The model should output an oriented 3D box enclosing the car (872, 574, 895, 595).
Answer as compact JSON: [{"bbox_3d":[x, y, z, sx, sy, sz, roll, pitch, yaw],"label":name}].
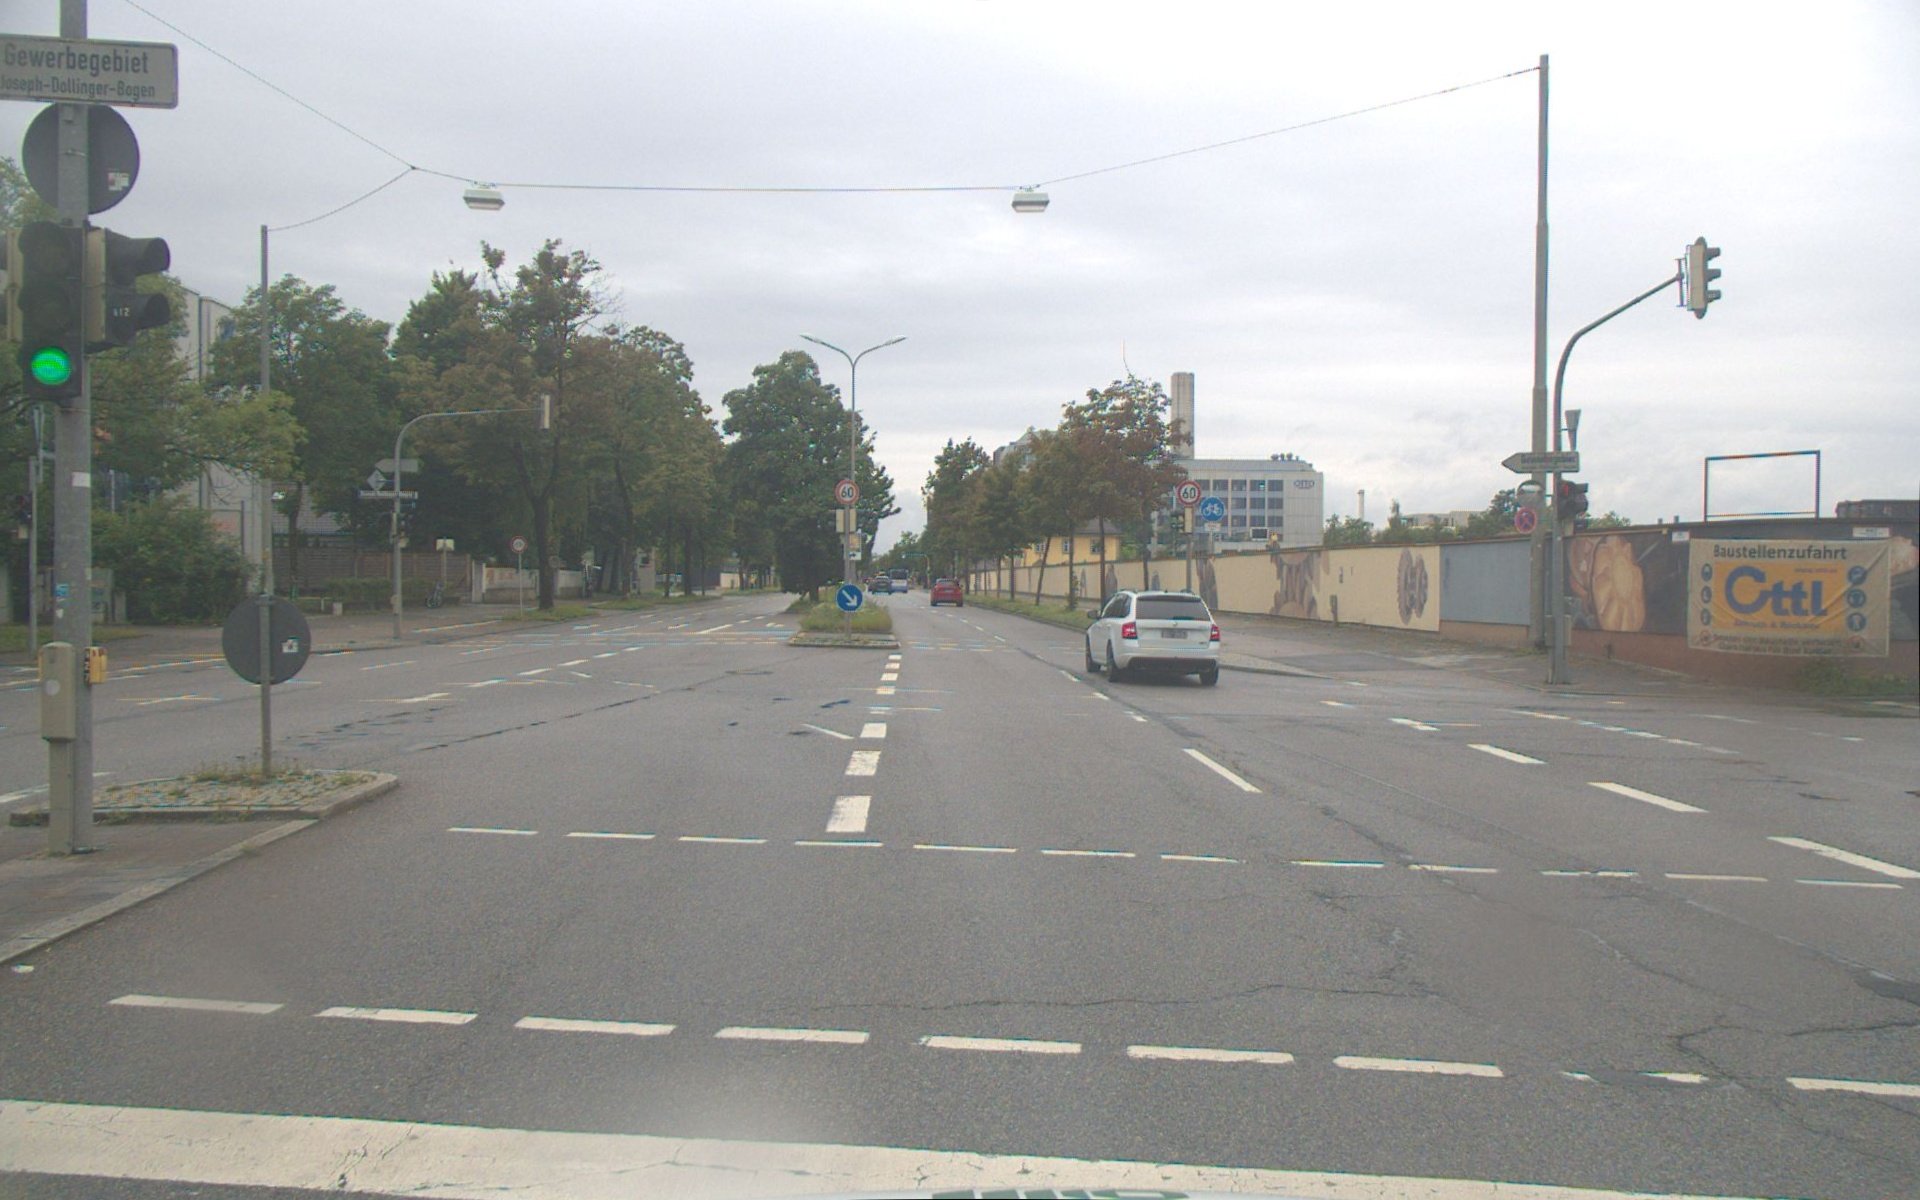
[{"bbox_3d":[-7.292,-1.455,156.765,2.043,1.898,4.382,1,1,-5],"label":"car"}]

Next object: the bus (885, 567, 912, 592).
[{"bbox_3d":[-8.390,-2.794,225.422,3.157,3.181,10.336,1,1,-4],"label":"bus"}]

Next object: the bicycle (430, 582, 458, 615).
[{"bbox_3d":[-21.306,-0.086,68.313,0.571,1.318,2.451,1,0,-6],"label":"bicycle"}]

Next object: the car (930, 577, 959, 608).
[{"bbox_3d":[-0.917,-0.470,97.252,1.455,1.745,3.548,1,1,-5],"label":"car"}]

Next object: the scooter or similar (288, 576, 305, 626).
[{"bbox_3d":[-19.676,0.016,49.068,0.364,1.449,1.398,1,0,-18],"label":"scooter or similar"}]

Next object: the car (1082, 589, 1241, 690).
[{"bbox_3d":[3.231,0.587,27.385,1.840,1.493,4.499,1,1,-3],"label":"car"}]
